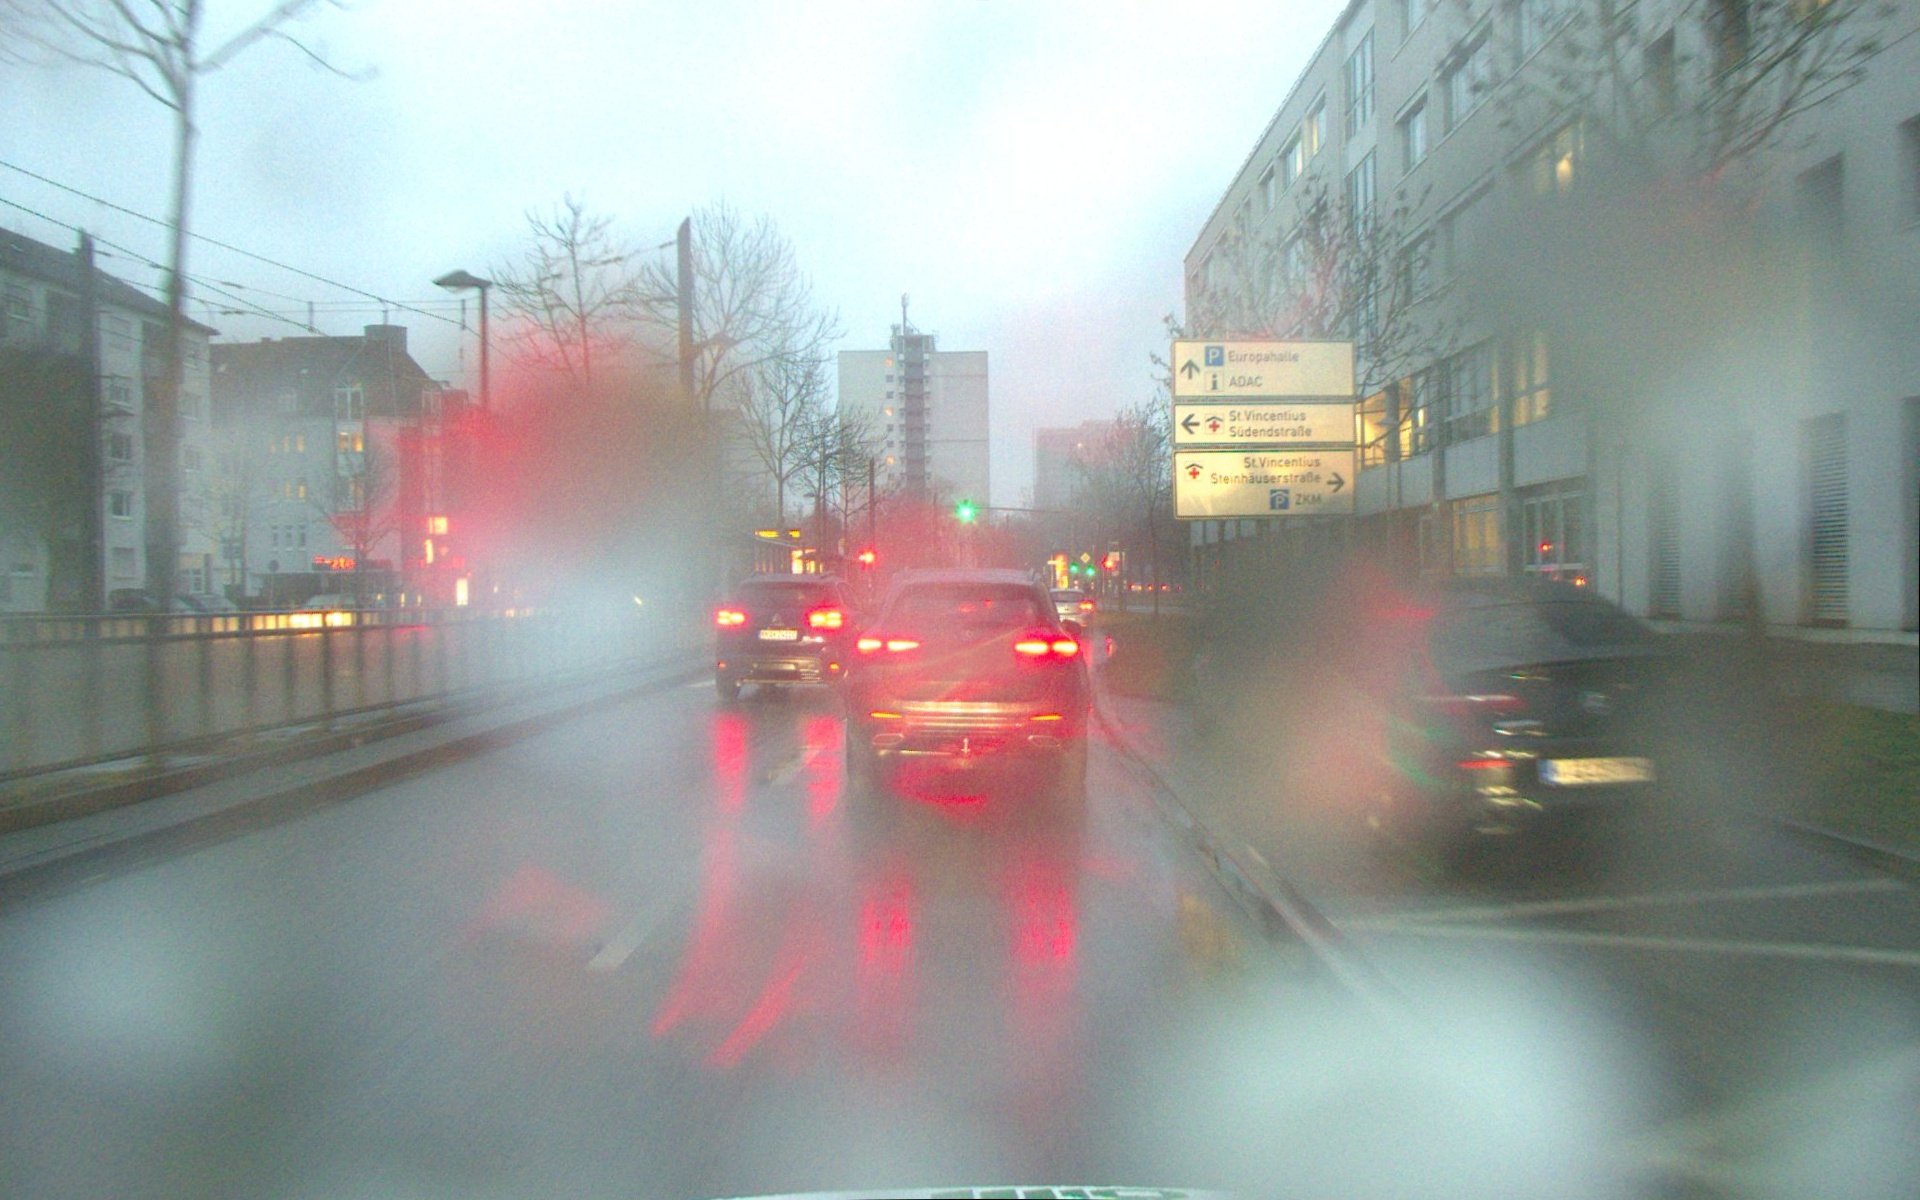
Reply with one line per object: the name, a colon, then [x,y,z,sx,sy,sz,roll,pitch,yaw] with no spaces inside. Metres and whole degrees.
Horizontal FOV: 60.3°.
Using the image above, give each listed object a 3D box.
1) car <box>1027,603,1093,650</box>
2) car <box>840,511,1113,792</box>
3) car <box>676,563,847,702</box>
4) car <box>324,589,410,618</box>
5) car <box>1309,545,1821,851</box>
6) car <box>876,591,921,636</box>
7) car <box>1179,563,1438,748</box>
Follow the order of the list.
car: [3.165,0.809,53.005,1.848,1.377,4.102,1,1,0]
car: [0.039,0.395,13.972,1.954,2.010,4.066,1,-1,-3]
car: [-2.665,0.440,23.176,1.953,1.742,4.323,1,-1,-1]
car: [-29.779,0.175,83.139,3.723,1.390,1.697,1,-1,-5]
car: [3.313,0.435,9.975,1.717,1.427,4.252,1,1,3]
car: [-2.923,0.612,79.079,1.912,2.069,4.883,0,0,1]
car: [3.030,0.419,15.025,1.559,1.418,3.486,-2,1,0]
